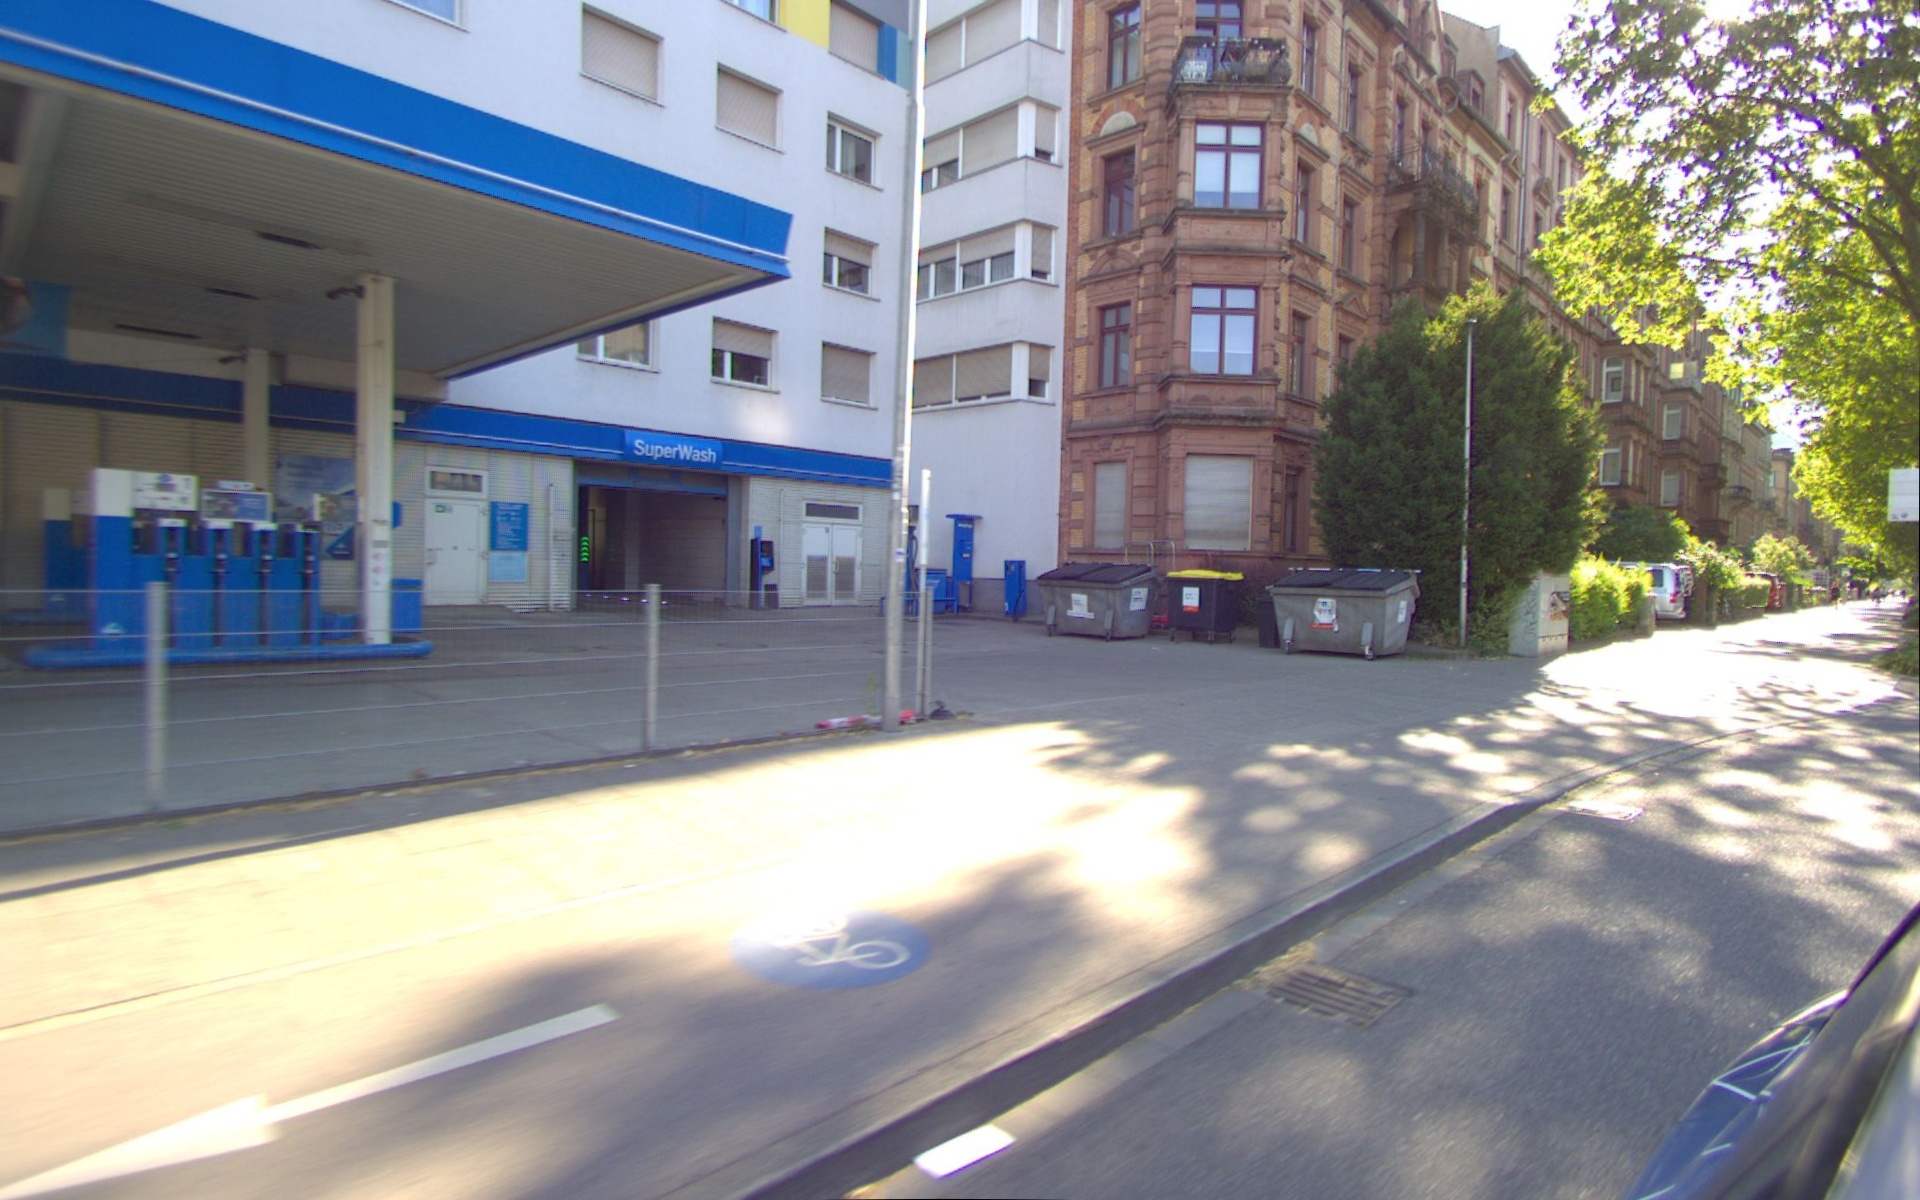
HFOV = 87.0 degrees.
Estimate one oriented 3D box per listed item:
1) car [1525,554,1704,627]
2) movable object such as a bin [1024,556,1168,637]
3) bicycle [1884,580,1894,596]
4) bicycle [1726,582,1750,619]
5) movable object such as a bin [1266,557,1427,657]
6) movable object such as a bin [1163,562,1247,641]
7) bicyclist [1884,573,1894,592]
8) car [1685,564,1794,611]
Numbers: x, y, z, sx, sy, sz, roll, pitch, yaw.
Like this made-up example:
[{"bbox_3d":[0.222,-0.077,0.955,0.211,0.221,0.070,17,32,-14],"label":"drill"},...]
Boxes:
[{"bbox_3d":[21.415,-0.376,33.241,4.577,2.037,1.884,6,5,45],"label":"car"},{"bbox_3d":[2.666,-0.099,19.886,2.207,1.441,1.752,3,2,41],"label":"movable object such as a bin"},{"bbox_3d":[69.269,-0.871,75.456,0.560,1.193,2.192,1,0,42],"label":"bicycle"},{"bbox_3d":[27.592,0.009,35.883,1.736,1.266,0.338,0,0,-42],"label":"bicycle"},{"bbox_3d":[6.454,0.067,16.908,2.033,1.509,1.720,3,2,41],"label":"movable object such as a bin"},{"bbox_3d":[4.623,0.001,19.110,1.186,1.406,1.013,3,2,43],"label":"movable object such as a bin"},{"bbox_3d":[69.275,-1.324,75.446,0.542,1.398,0.634,1,0,43],"label":"bicyclist"},{"bbox_3d":[40.055,-0.692,52.042,4.178,2.037,1.969,7,5,43],"label":"car"}]
